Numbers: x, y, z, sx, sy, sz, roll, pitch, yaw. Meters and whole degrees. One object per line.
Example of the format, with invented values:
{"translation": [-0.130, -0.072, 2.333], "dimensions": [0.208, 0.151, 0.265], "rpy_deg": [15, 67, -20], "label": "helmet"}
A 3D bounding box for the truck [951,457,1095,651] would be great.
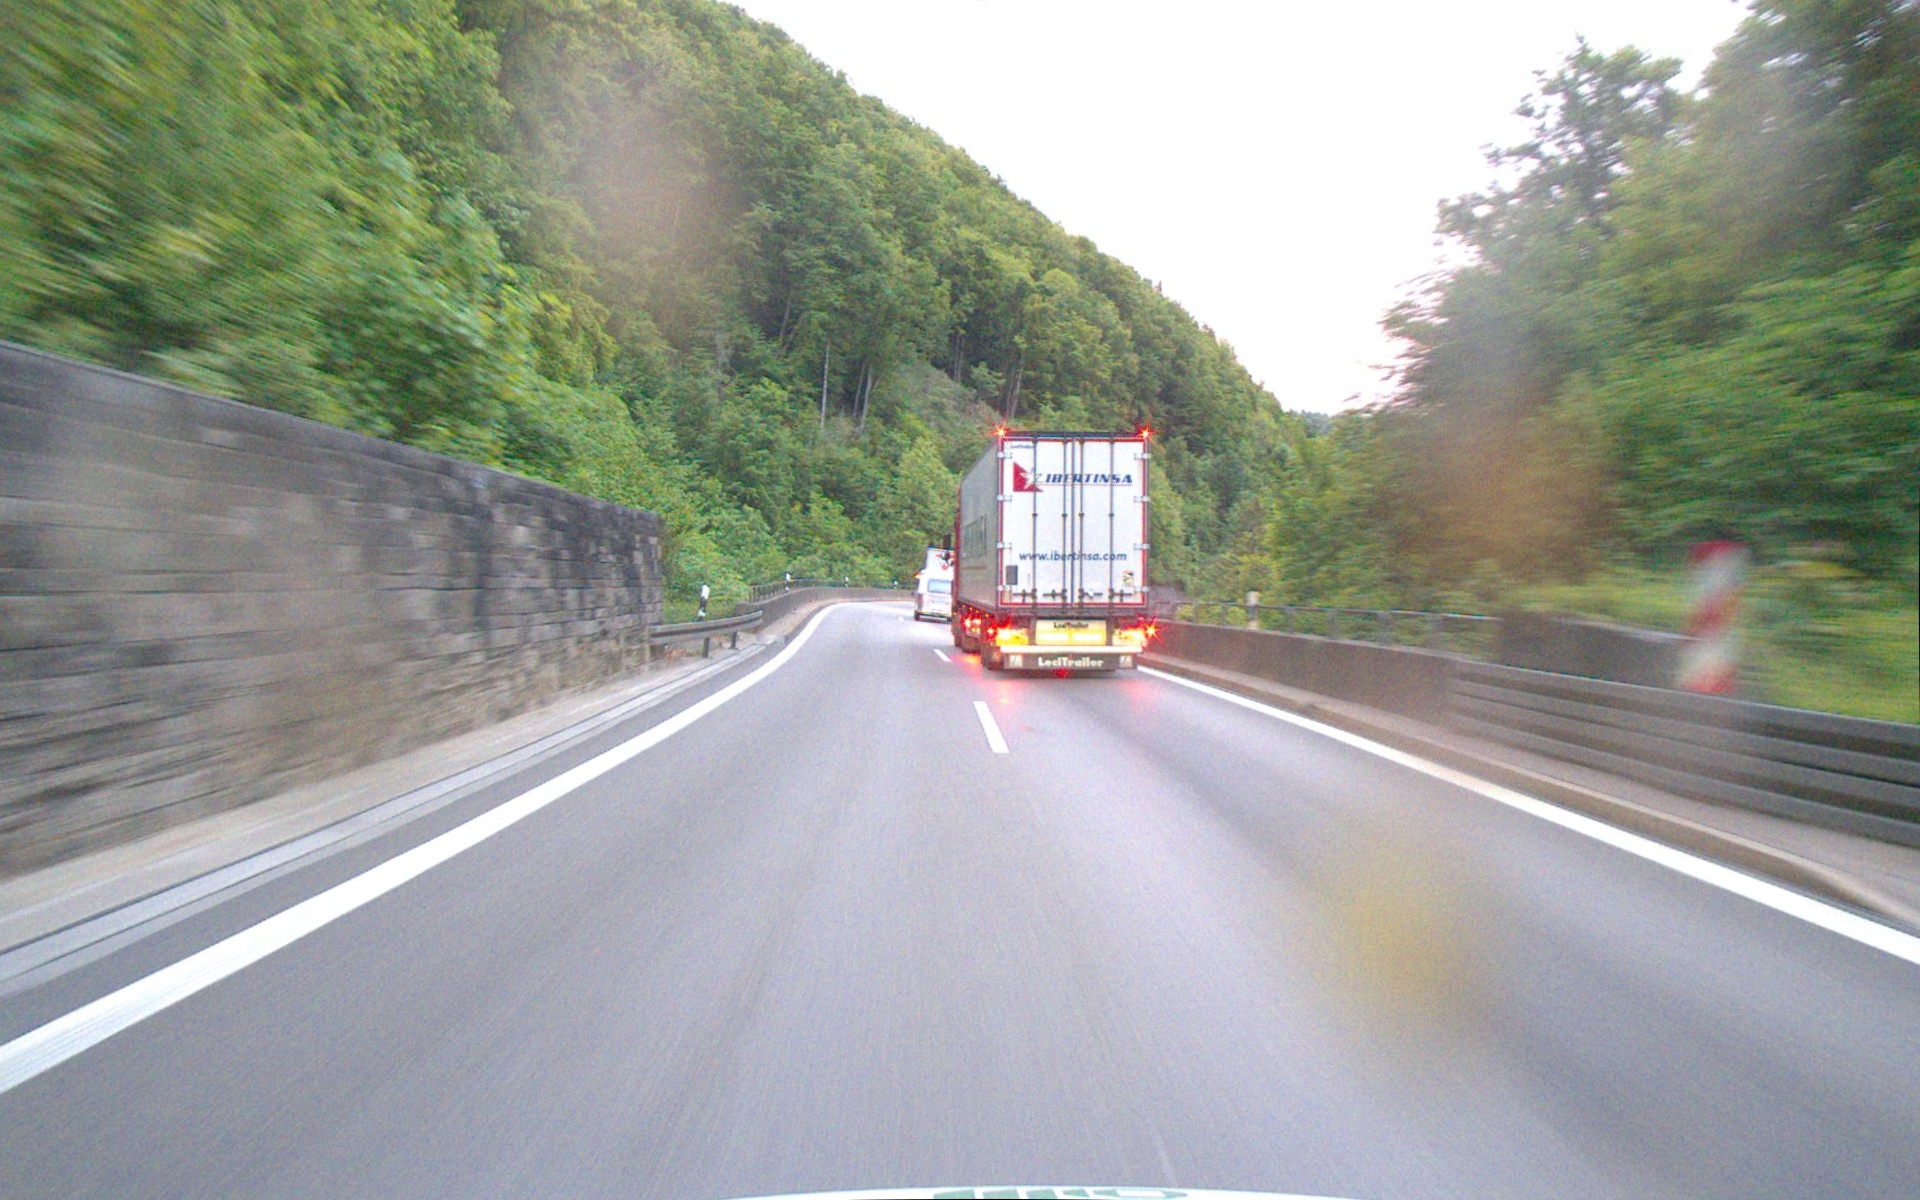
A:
{"translation": [1.375, -1.059, 39.778], "dimensions": [3.007, 4.217, 6.445], "rpy_deg": [-1, 1, -1], "label": "truck"}

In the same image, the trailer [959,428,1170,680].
{"translation": [1.678, -0.893, 33.734], "dimensions": [3.034, 4.039, 14.215], "rpy_deg": [0, 1, -2], "label": "trailer"}

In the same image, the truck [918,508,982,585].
{"translation": [-0.502, -3.378, 110.424], "dimensions": [3.226, 4.246, 16.507], "rpy_deg": [3, -1, 3], "label": "truck"}

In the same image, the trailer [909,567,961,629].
{"translation": [-1.123, -0.155, 74.181], "dimensions": [2.014, 2.414, 5.938], "rpy_deg": [6, 1, -1], "label": "trailer"}
